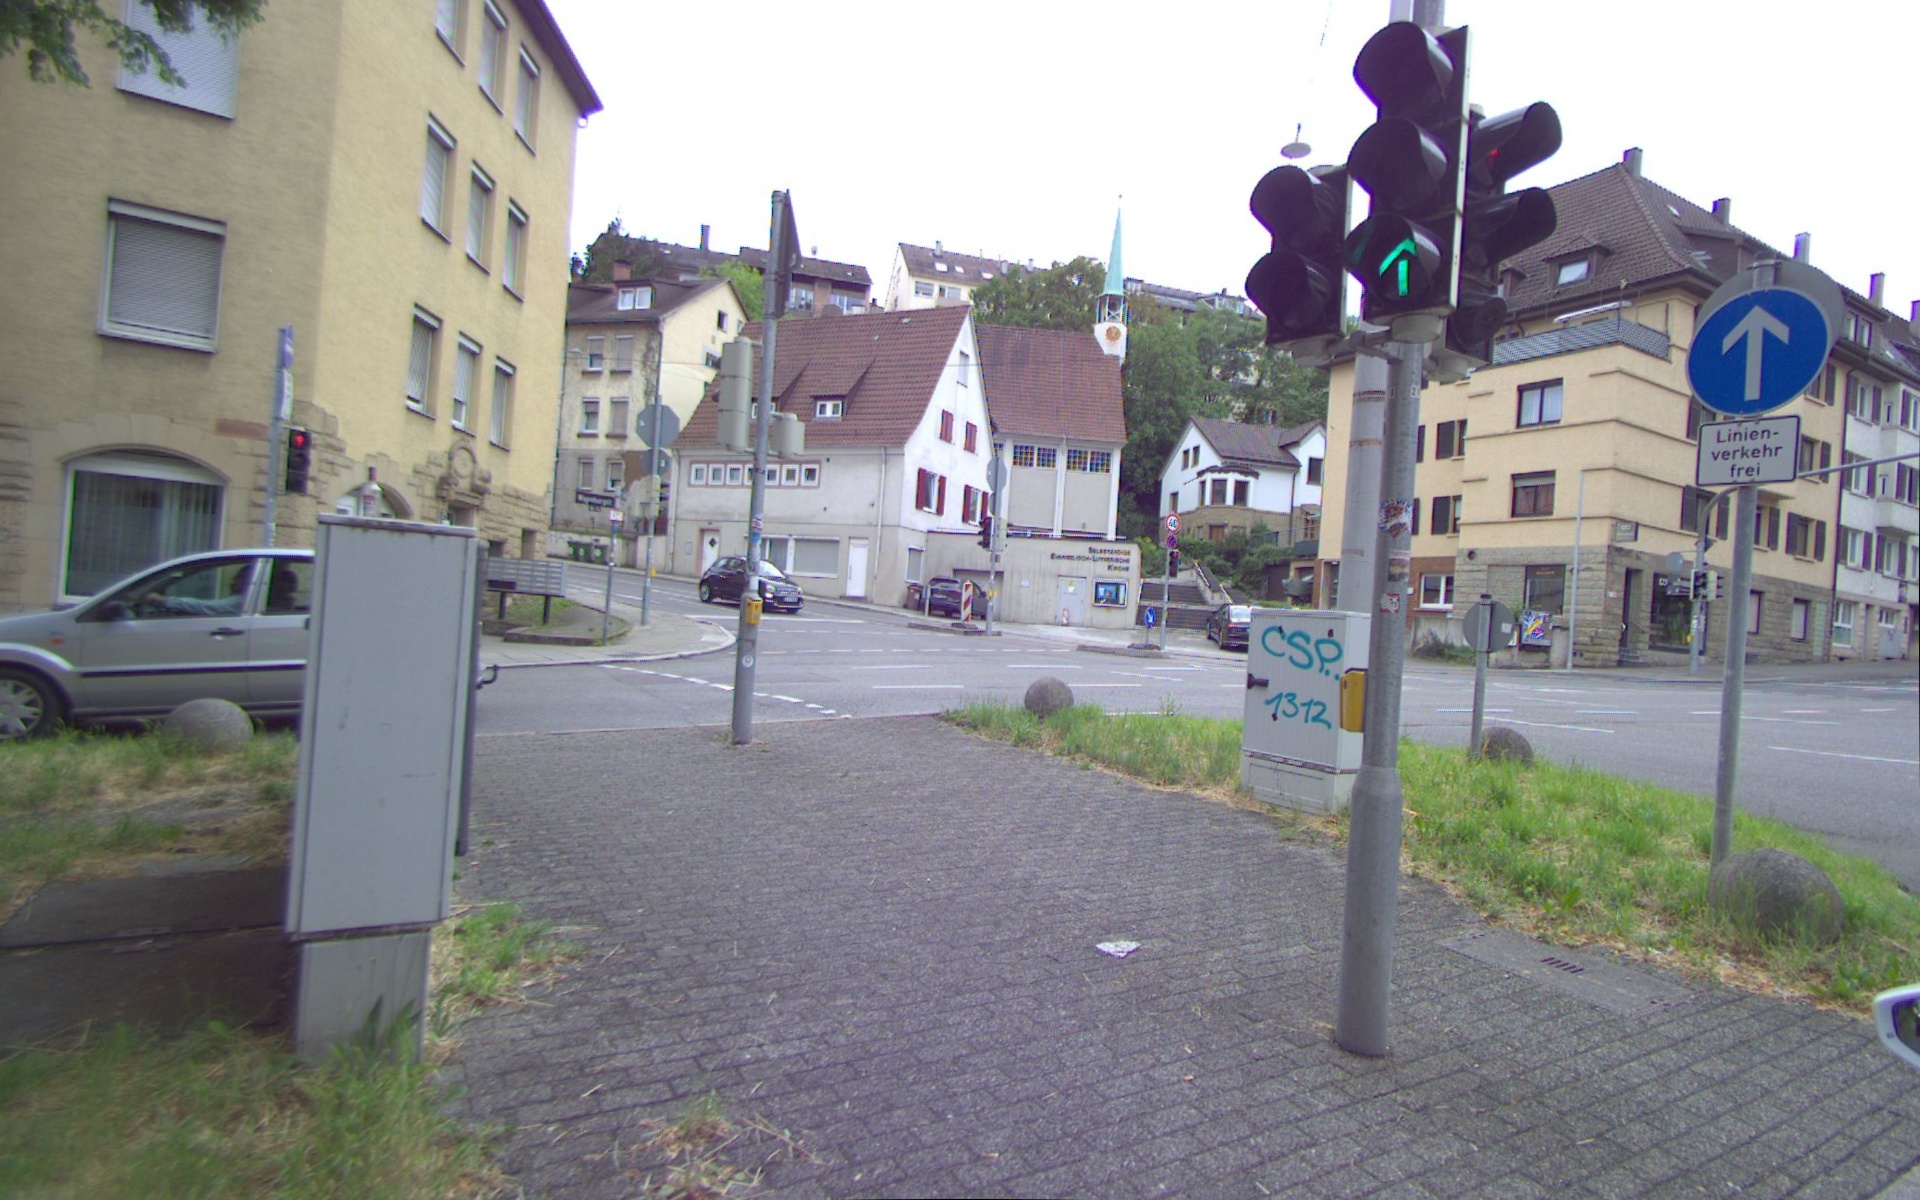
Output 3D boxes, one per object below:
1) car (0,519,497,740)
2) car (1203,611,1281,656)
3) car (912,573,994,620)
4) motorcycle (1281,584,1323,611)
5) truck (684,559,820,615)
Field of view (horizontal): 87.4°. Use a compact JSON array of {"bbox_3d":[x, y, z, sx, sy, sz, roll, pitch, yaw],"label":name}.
[{"bbox_3d":[-6.181,0.238,8.548,3.914,1.572,1.710,2,0,-30],"label":"car"},{"bbox_3d":[9.561,1.085,34.308,1.799,1.205,4.001,4,2,5],"label":"car"},{"bbox_3d":[-0.189,-0.147,38.027,1.650,1.485,4.300,7,3,19],"label":"car"},{"bbox_3d":[15.871,-0.089,46.576,2.021,1.149,0.556,2,2,-28],"label":"motorcycle"},{"bbox_3d":[-6.165,-0.397,29.583,3.939,1.437,1.844,4,2,40],"label":"truck"}]
